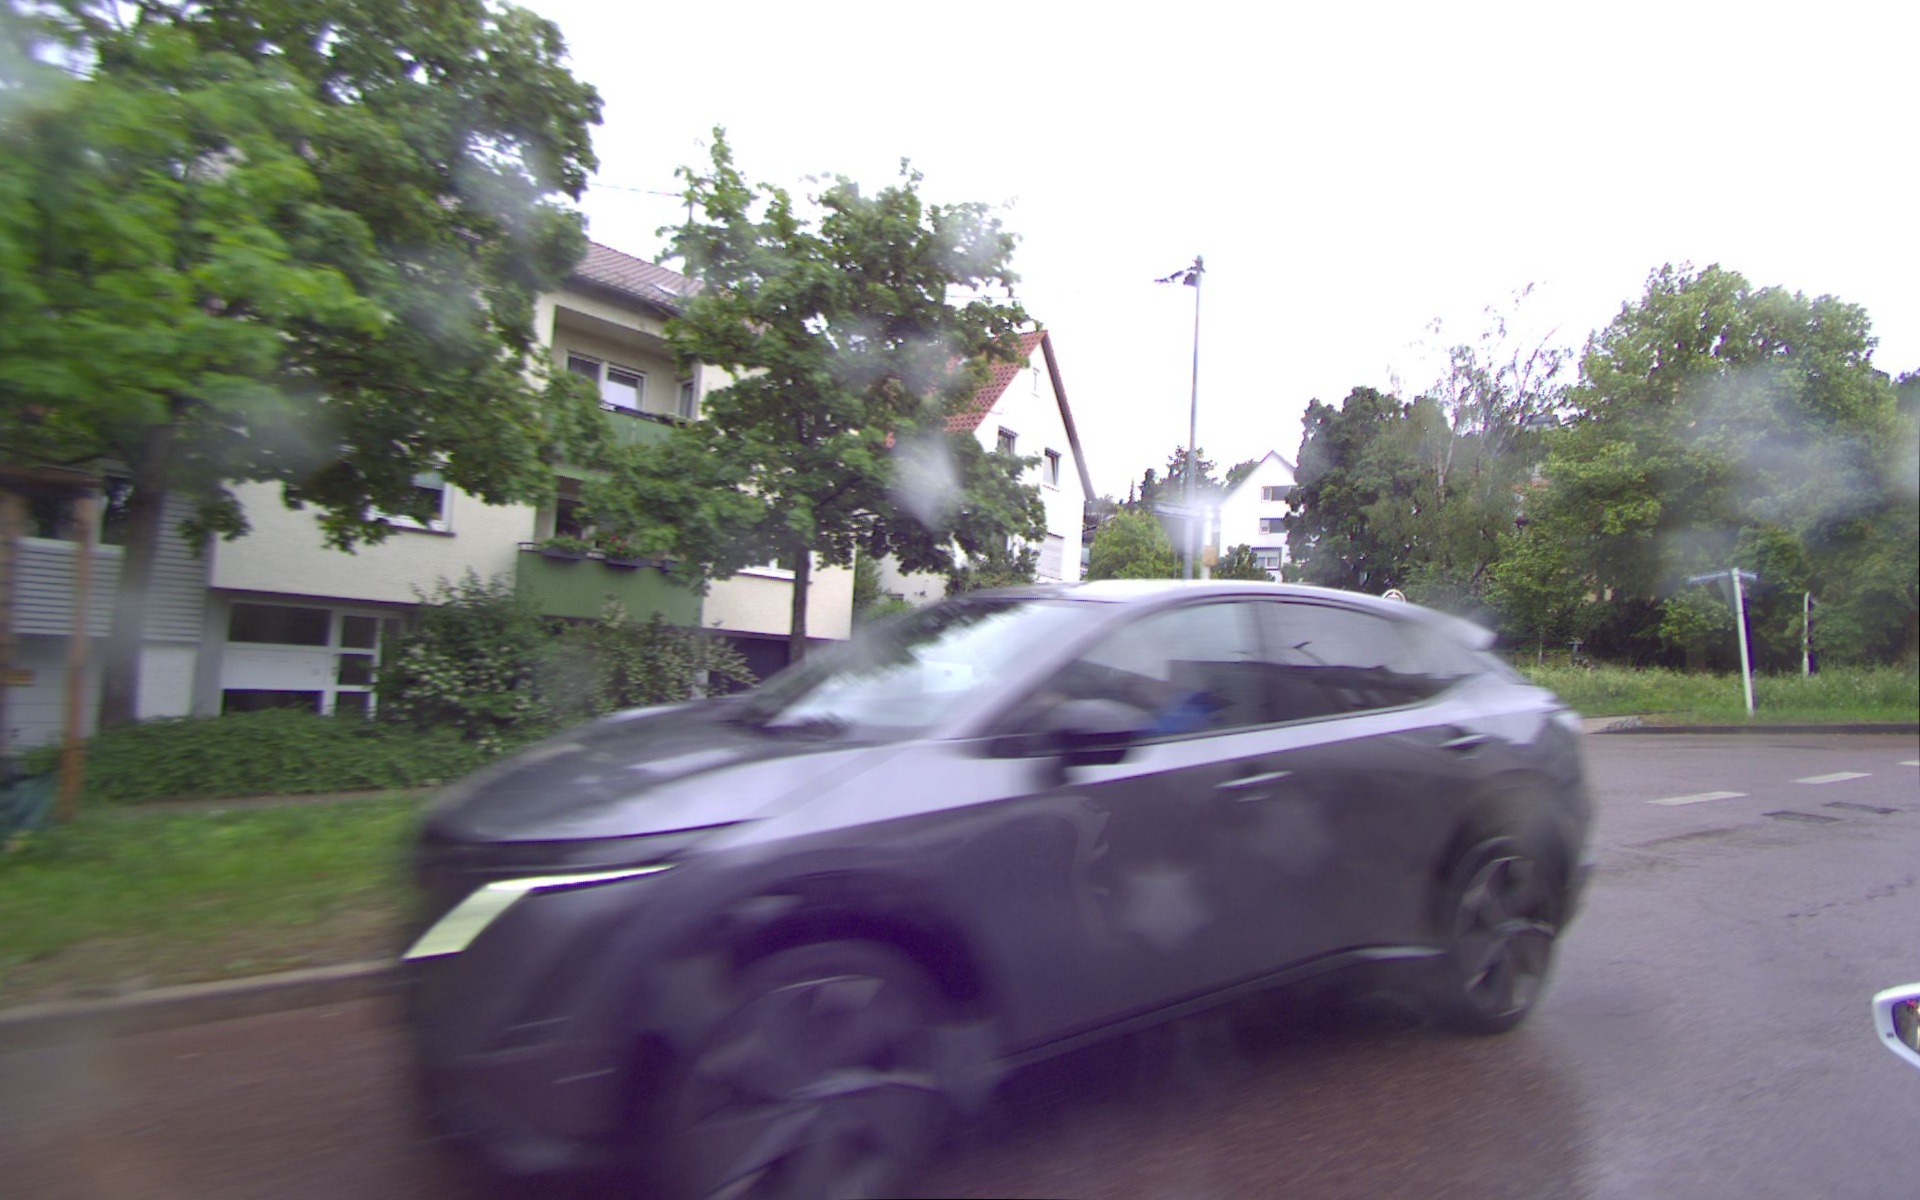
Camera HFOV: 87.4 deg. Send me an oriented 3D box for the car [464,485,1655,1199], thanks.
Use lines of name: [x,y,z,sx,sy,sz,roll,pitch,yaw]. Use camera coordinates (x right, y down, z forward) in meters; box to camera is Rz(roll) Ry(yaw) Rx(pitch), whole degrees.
car: [0.608,0.694,3.815,4.326,1.711,1.742,2,-1,-31]

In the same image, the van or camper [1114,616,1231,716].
van or camper: [6.418,1.845,29.775,1.611,2.591,6.056,3,0,29]
